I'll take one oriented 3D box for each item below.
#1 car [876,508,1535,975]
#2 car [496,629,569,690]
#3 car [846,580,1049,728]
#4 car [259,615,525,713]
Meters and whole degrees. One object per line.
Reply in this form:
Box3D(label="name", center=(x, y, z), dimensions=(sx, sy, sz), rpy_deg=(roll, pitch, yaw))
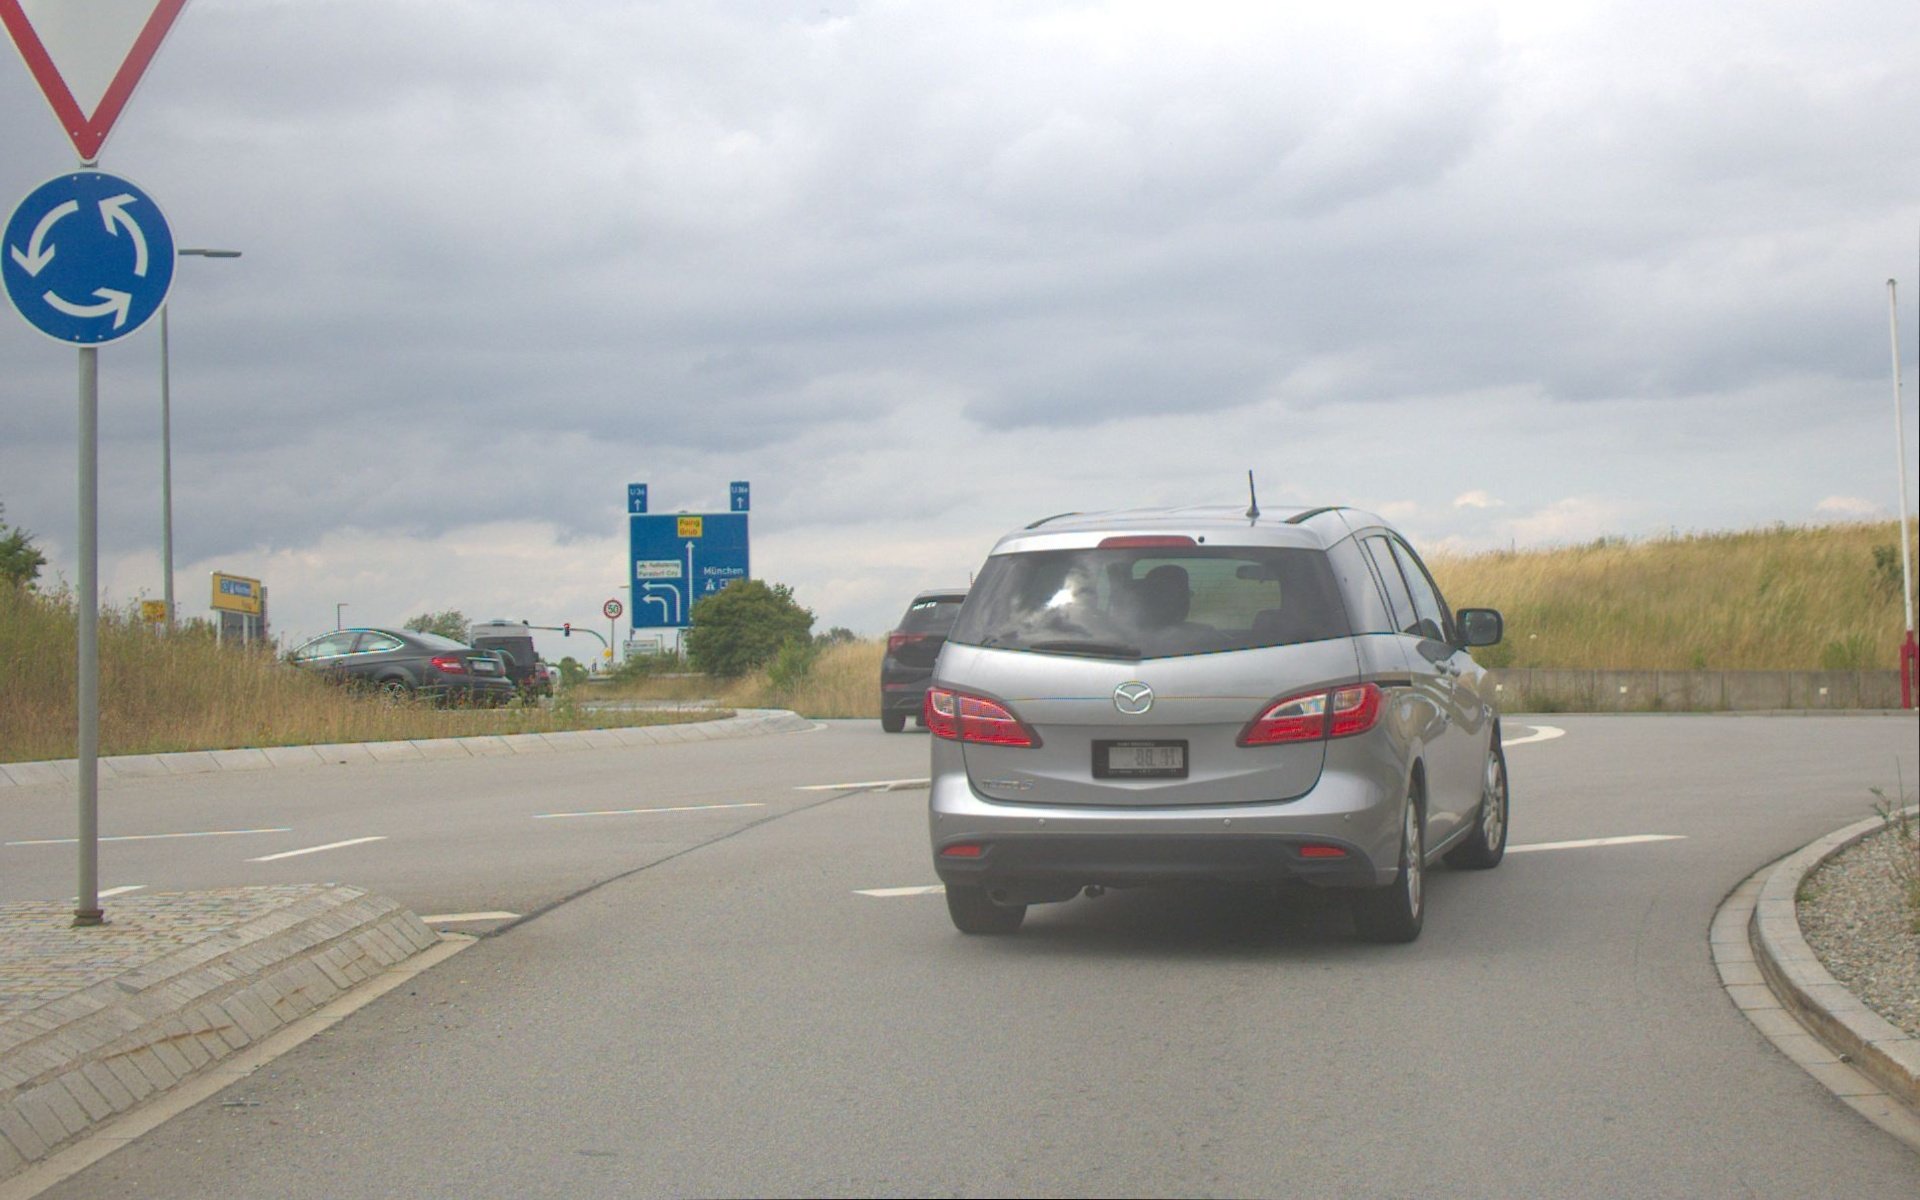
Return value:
Box3D(label="car", center=(1.141, 0.451, 13.719), dimensions=(1.912, 1.568, 3.997), rpy_deg=(0, 1, 15))
Box3D(label="car", center=(-11.700, 1.604, 93.917), dimensions=(1.598, 1.543, 4.047), rpy_deg=(-2, 0, -12))
Box3D(label="car", center=(-0.186, 0.515, 35.131), dimensions=(1.661, 1.373, 4.001), rpy_deg=(-2, 0, -6))
Box3D(label="car", center=(-8.287, 0.933, 49.996), dimensions=(3.996, 1.335, 1.661), rpy_deg=(-1, 0, 42))
